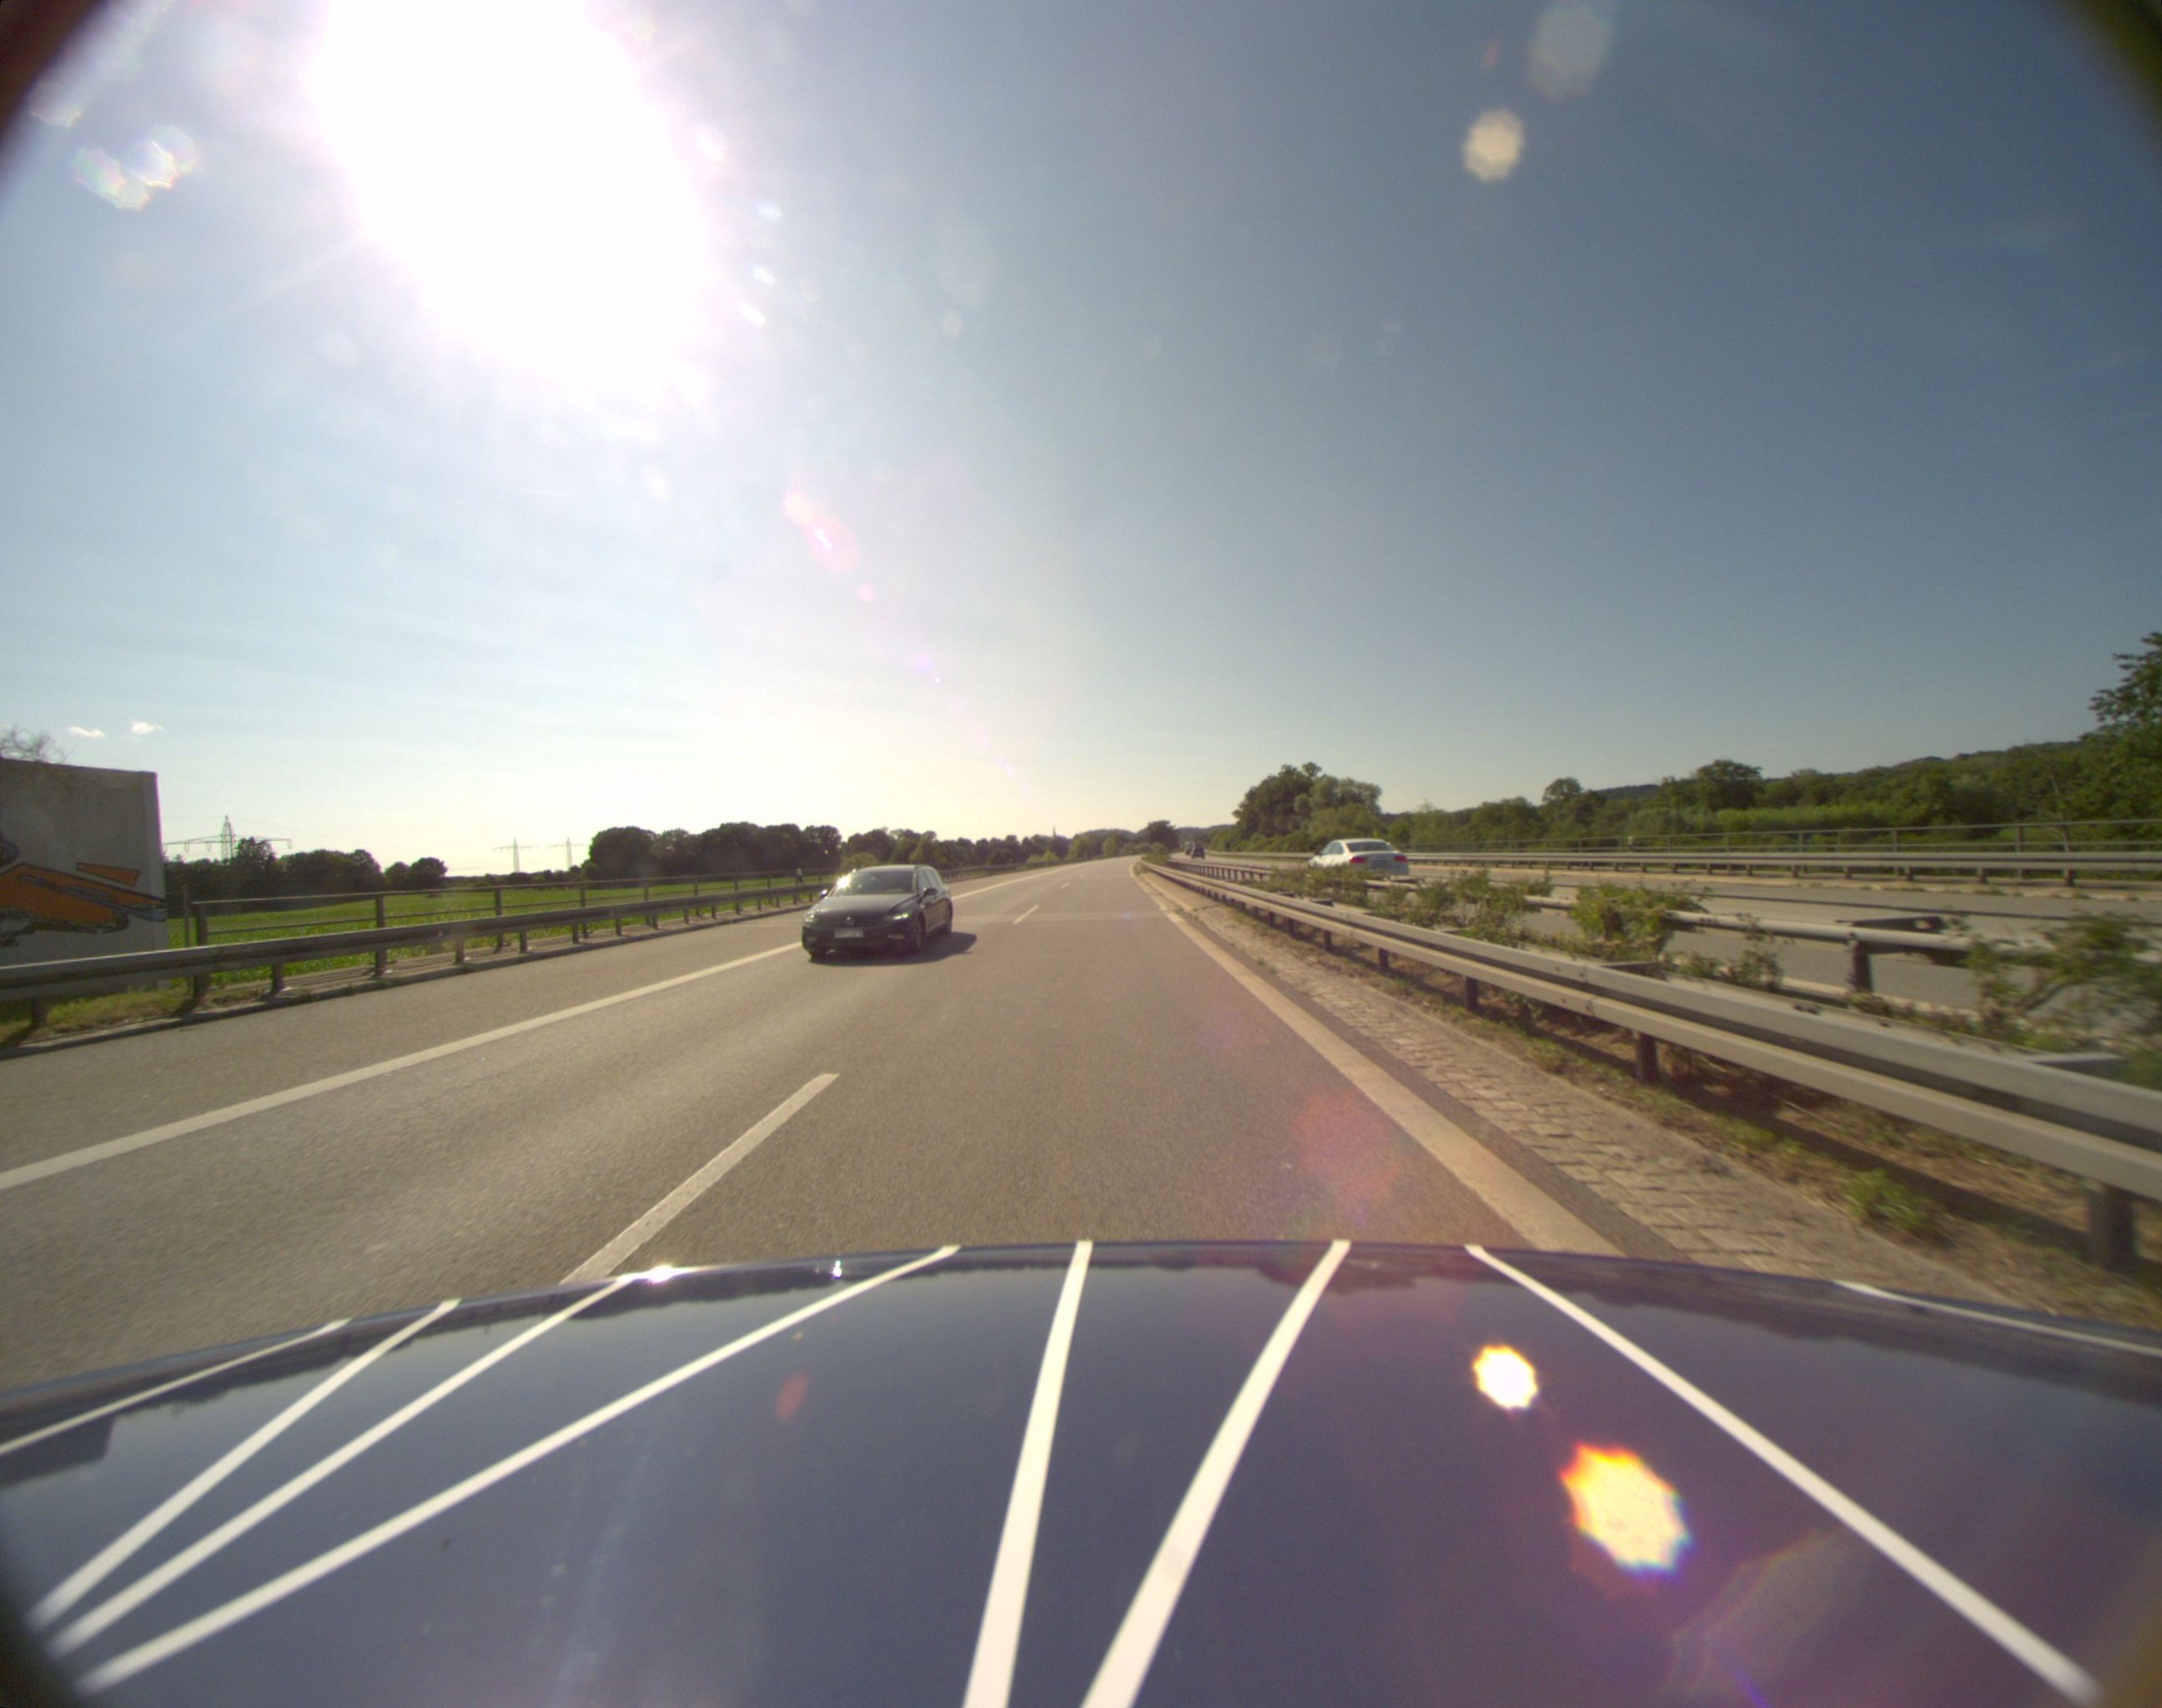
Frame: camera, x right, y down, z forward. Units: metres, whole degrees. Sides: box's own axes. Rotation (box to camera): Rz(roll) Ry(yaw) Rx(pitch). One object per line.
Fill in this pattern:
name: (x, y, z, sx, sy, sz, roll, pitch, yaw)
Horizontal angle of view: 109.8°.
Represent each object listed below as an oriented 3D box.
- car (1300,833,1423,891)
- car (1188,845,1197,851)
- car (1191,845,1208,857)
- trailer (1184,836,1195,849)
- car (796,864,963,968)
car: (8.027, 0.211, 22.270, 1.825, 1.426, 4.649, -3, 0, 0)
car: (26.160, -1.407, 178.526, 1.998, 1.545, 4.421, -1, 1, 5)
car: (17.499, -0.473, 112.586, 1.998, 1.669, 5.318, -1, 0, 3)
trailer: (31.602, -3.357, 221.238, 2.746, 3.705, 10.917, -2, 1, 7)
car: (-3.433, 0.981, 13.878, 1.723, 1.392, 4.413, -2, 1, 1)
